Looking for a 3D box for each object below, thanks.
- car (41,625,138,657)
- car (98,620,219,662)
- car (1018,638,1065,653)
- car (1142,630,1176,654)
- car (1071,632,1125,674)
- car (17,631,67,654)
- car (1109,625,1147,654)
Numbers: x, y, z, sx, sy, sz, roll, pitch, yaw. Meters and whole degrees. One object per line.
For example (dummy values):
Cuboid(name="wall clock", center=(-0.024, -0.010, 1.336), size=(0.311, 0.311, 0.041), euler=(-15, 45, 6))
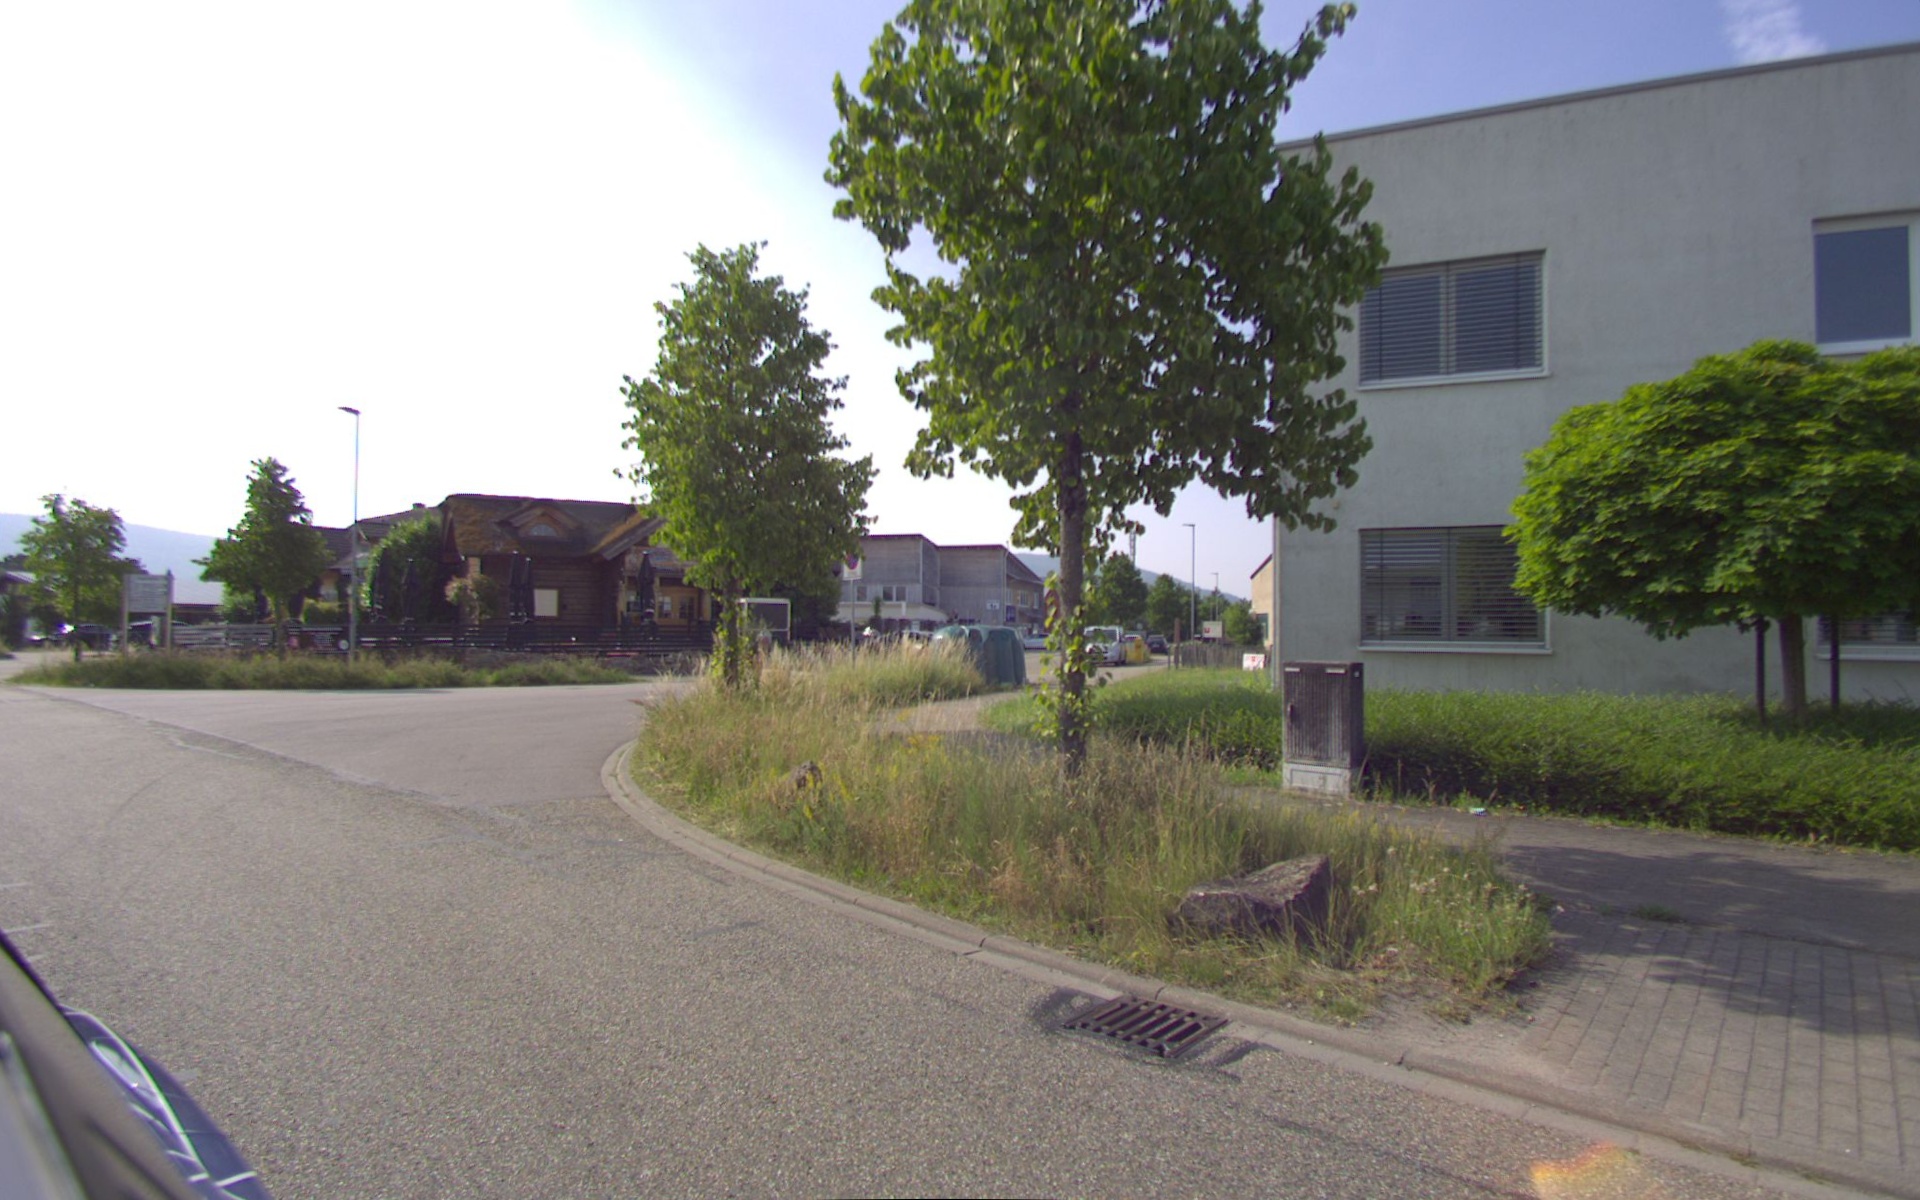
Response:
Cuboid(name="car", center=(-52.345, 2.443, 60.937), size=(1.984, 1.807, 3.974), euler=(-1, -2, 19))
Cuboid(name="car", center=(-35.667, 1.800, 45.111), size=(1.999, 1.741, 3.945), euler=(-2, -2, 41))
Cuboid(name="car", center=(7.545, 4.185, 93.493), size=(4.029, 1.378, 1.753), euler=(-1, -2, 16))
Cuboid(name="car", center=(15.150, 3.147, 76.957), size=(1.984, 1.741, 3.974), euler=(-1, -2, 19))
Cuboid(name="car", center=(6.621, 2.457, 48.011), size=(2.004, 1.838, 4.865), euler=(0, -2, 14))
Cuboid(name="car", center=(-60.749, 2.779, 66.963), size=(3.541, 1.492, 1.596), euler=(-1, -2, 34))
Cuboid(name="car", center=(10.178, 2.364, 61.129), size=(1.981, 1.741, 3.981), euler=(0, -2, 14))
